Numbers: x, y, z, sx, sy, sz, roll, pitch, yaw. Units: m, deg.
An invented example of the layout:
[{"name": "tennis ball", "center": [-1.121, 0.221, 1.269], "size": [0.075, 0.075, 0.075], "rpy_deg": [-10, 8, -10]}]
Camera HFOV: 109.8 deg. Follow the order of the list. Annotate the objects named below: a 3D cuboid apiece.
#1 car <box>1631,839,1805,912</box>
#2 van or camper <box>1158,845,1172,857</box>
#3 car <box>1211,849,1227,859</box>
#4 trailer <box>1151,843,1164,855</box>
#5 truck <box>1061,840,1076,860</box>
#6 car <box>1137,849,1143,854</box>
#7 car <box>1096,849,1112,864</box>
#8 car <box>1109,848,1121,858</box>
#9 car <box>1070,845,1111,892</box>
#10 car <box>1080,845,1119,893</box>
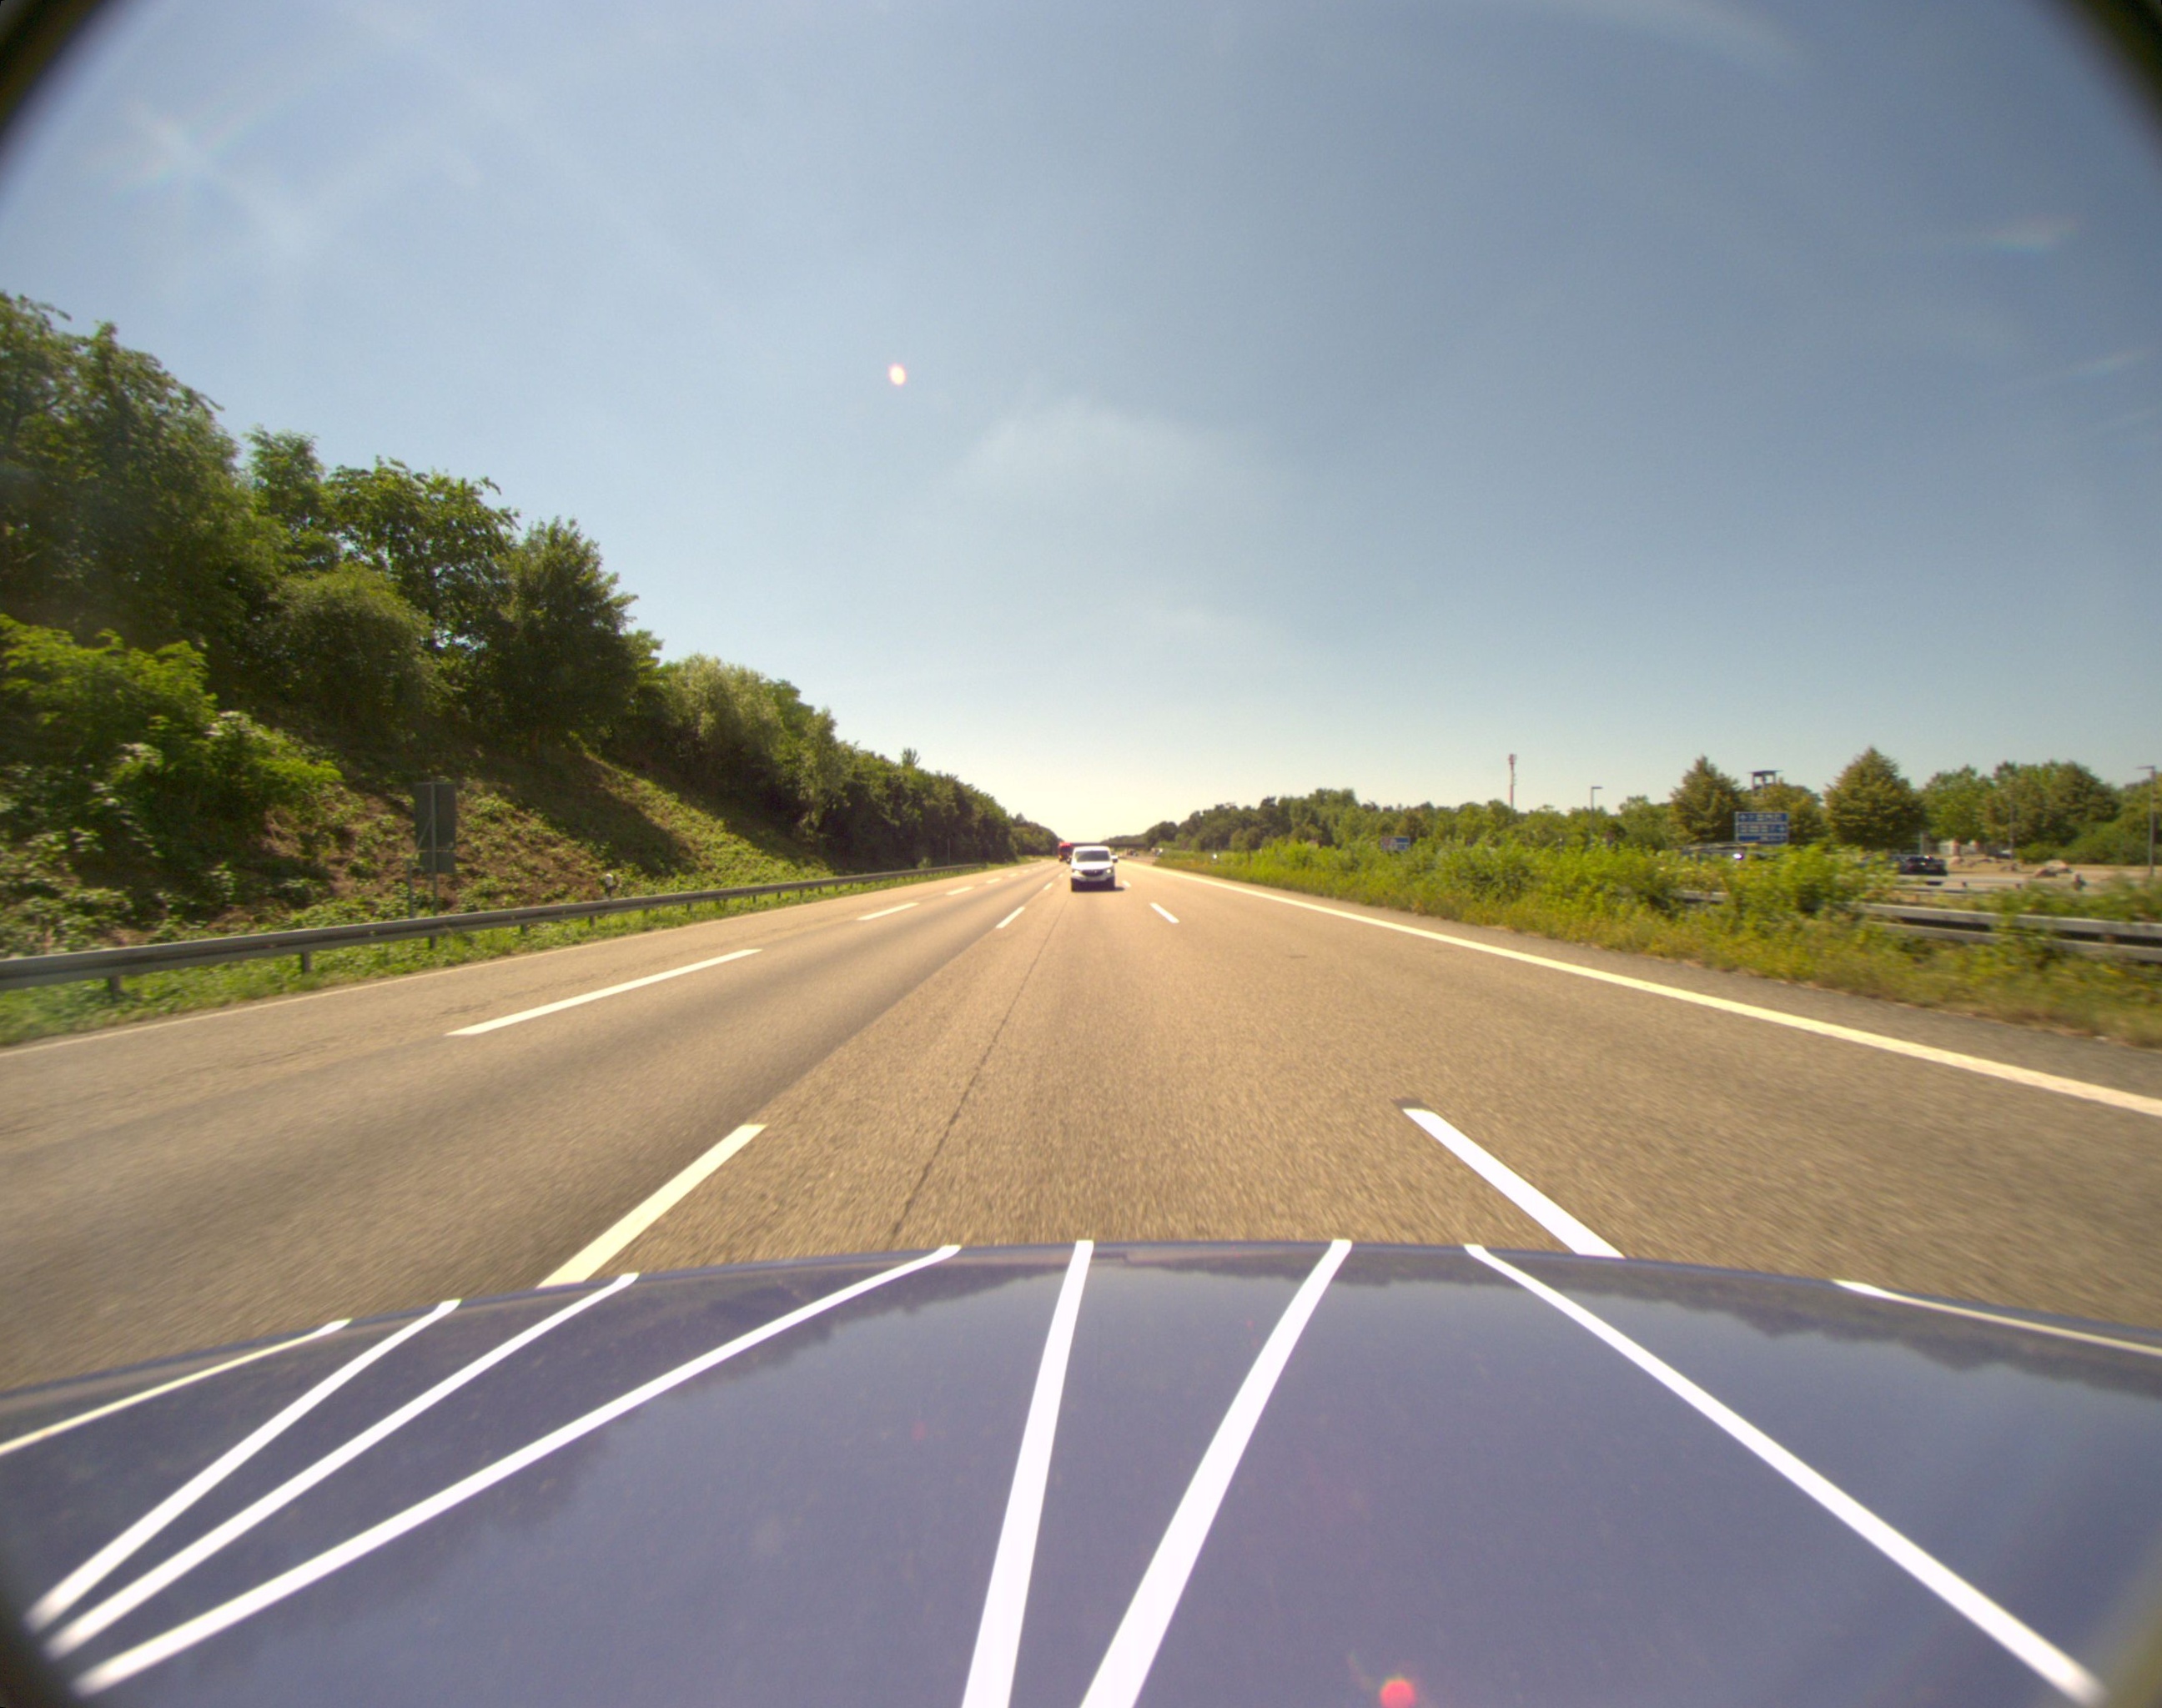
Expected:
[{"name": "car", "center": [17.581, 0.531, 21.233], "size": [1.656, 1.794, 3.800], "rpy_deg": [-2, 1, 1]}, {"name": "van or camper", "center": [19.245, -0.679, 174.188], "size": [2.424, 2.567, 6.366], "rpy_deg": [-3, 1, 0]}, {"name": "car", "center": [18.865, -0.026, 103.973], "size": [1.546, 1.416, 3.852], "rpy_deg": [1, 1, -1]}, {"name": "trailer", "center": [23.054, -1.517, 228.819], "size": [2.789, 3.495, 9.368], "rpy_deg": [-2, 1, -1]}, {"name": "truck", "center": [-2.334, -0.744, 148.037], "size": [2.540, 3.656, 5.219], "rpy_deg": [-2, 1, 2]}, {"name": "car", "center": [20.057, -0.757, 258.237], "size": [1.750, 1.704, 4.484], "rpy_deg": [-2, 1, 0]}, {"name": "car", "center": [2.527, 0.271, 85.083], "size": [1.692, 1.497, 3.793], "rpy_deg": [-2, 1, 2]}, {"name": "car", "center": [5.413, -0.187, 120.891], "size": [1.775, 1.410, 3.401], "rpy_deg": [-2, 1, 2]}, {"name": "car", "center": [0.389, 0.545, 31.207], "size": [1.501, 1.799, 3.394], "rpy_deg": [-2, 1, 0]}, {"name": "car", "center": [0.733, 0.568, 31.232], "size": [1.413, 1.795, 3.200], "rpy_deg": [-2, 1, 0]}]
